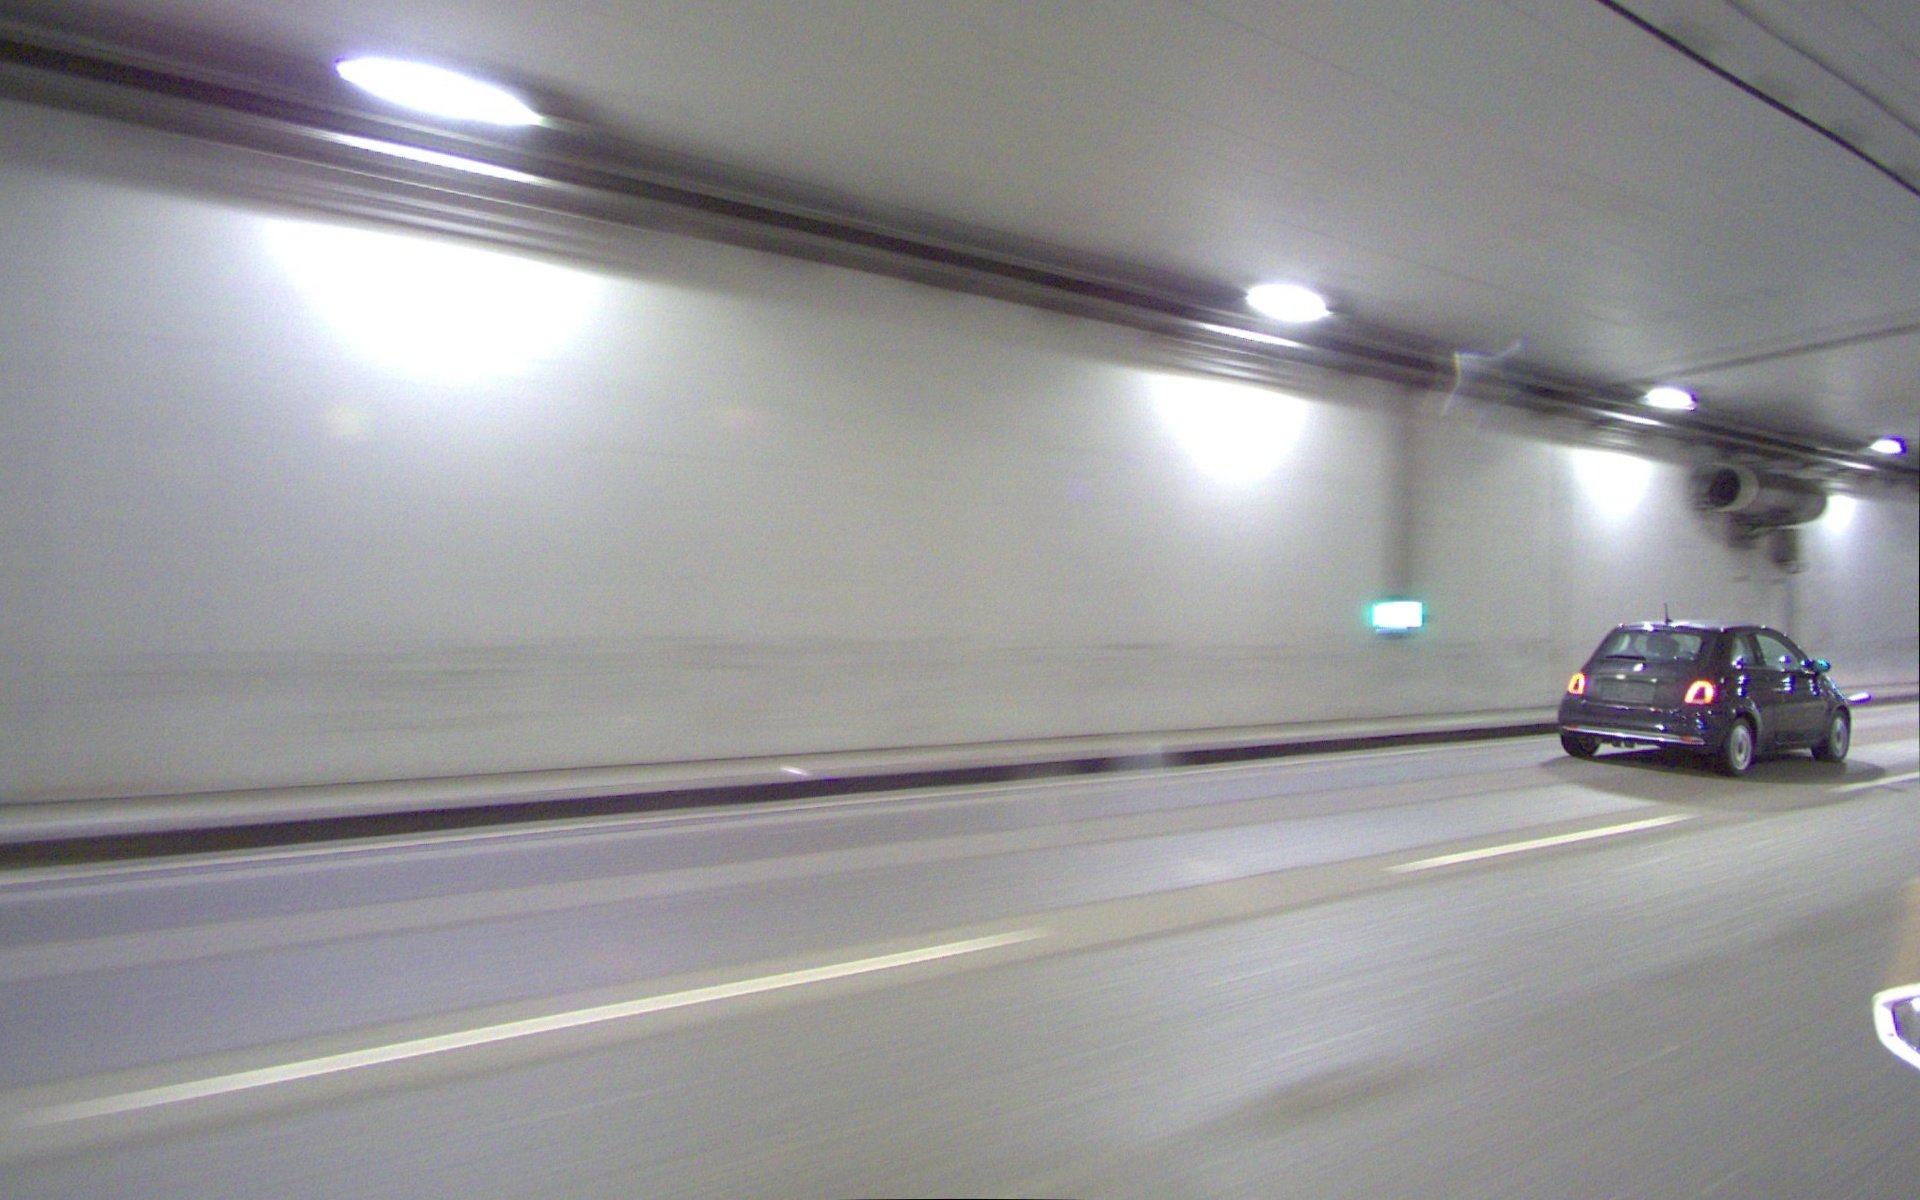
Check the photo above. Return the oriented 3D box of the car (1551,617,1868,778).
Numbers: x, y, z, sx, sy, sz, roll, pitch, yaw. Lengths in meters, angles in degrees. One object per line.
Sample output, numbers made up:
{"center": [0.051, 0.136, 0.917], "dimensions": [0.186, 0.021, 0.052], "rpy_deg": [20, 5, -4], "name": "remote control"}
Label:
{"center": [8.181, 0.936, 10.905], "dimensions": [3.533, 1.474, 1.603], "rpy_deg": [1, -1, -32], "name": "car"}
